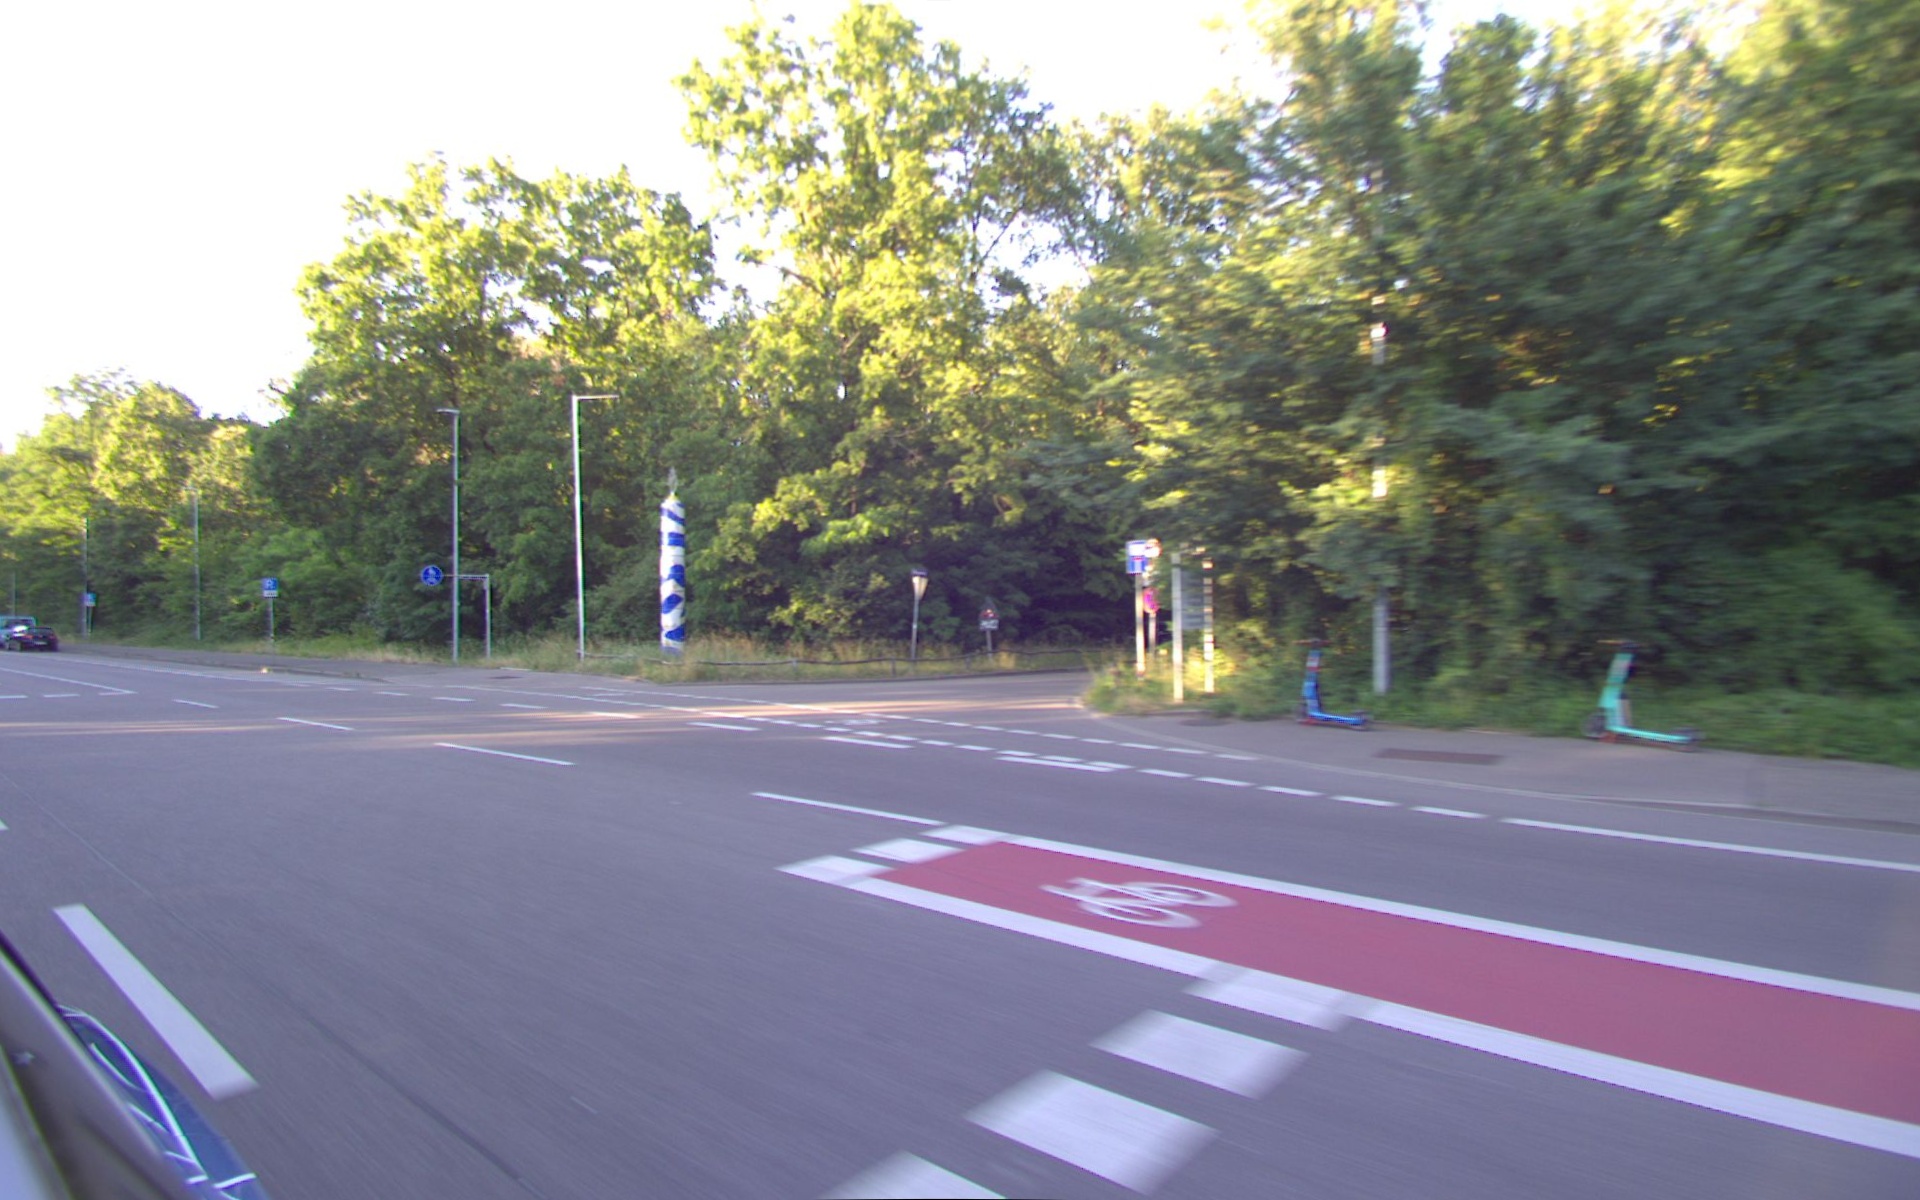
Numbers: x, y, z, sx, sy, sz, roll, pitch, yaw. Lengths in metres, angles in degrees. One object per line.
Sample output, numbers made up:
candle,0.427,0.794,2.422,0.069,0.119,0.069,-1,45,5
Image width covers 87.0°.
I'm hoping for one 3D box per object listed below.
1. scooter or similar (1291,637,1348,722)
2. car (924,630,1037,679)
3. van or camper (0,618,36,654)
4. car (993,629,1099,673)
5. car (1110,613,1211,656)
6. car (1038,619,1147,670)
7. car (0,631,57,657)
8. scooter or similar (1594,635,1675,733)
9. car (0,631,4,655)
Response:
scooter or similar,4.941,1.070,13.945,0.356,1.118,0.881,0,-1,-7
car,0.626,1.714,32.565,3.343,1.463,1.725,-2,-2,43
van or camper,-58.527,2.201,61.894,5.006,2.110,2.012,-2,-3,37
car,2.999,1.765,35.604,3.343,1.463,1.725,-2,-2,43
car,8.143,1.398,41.326,3.671,1.699,1.726,-2,-2,42
car,4.875,1.609,37.445,3.672,1.797,1.725,-2,-2,43
car,-53.882,2.546,58.445,4.234,1.473,1.672,-2,-3,36
scooter or similar,7.759,0.946,11.673,0.491,1.076,0.895,-1,-2,15
car,-63.232,2.753,65.224,3.962,1.505,1.529,-2,-3,35
